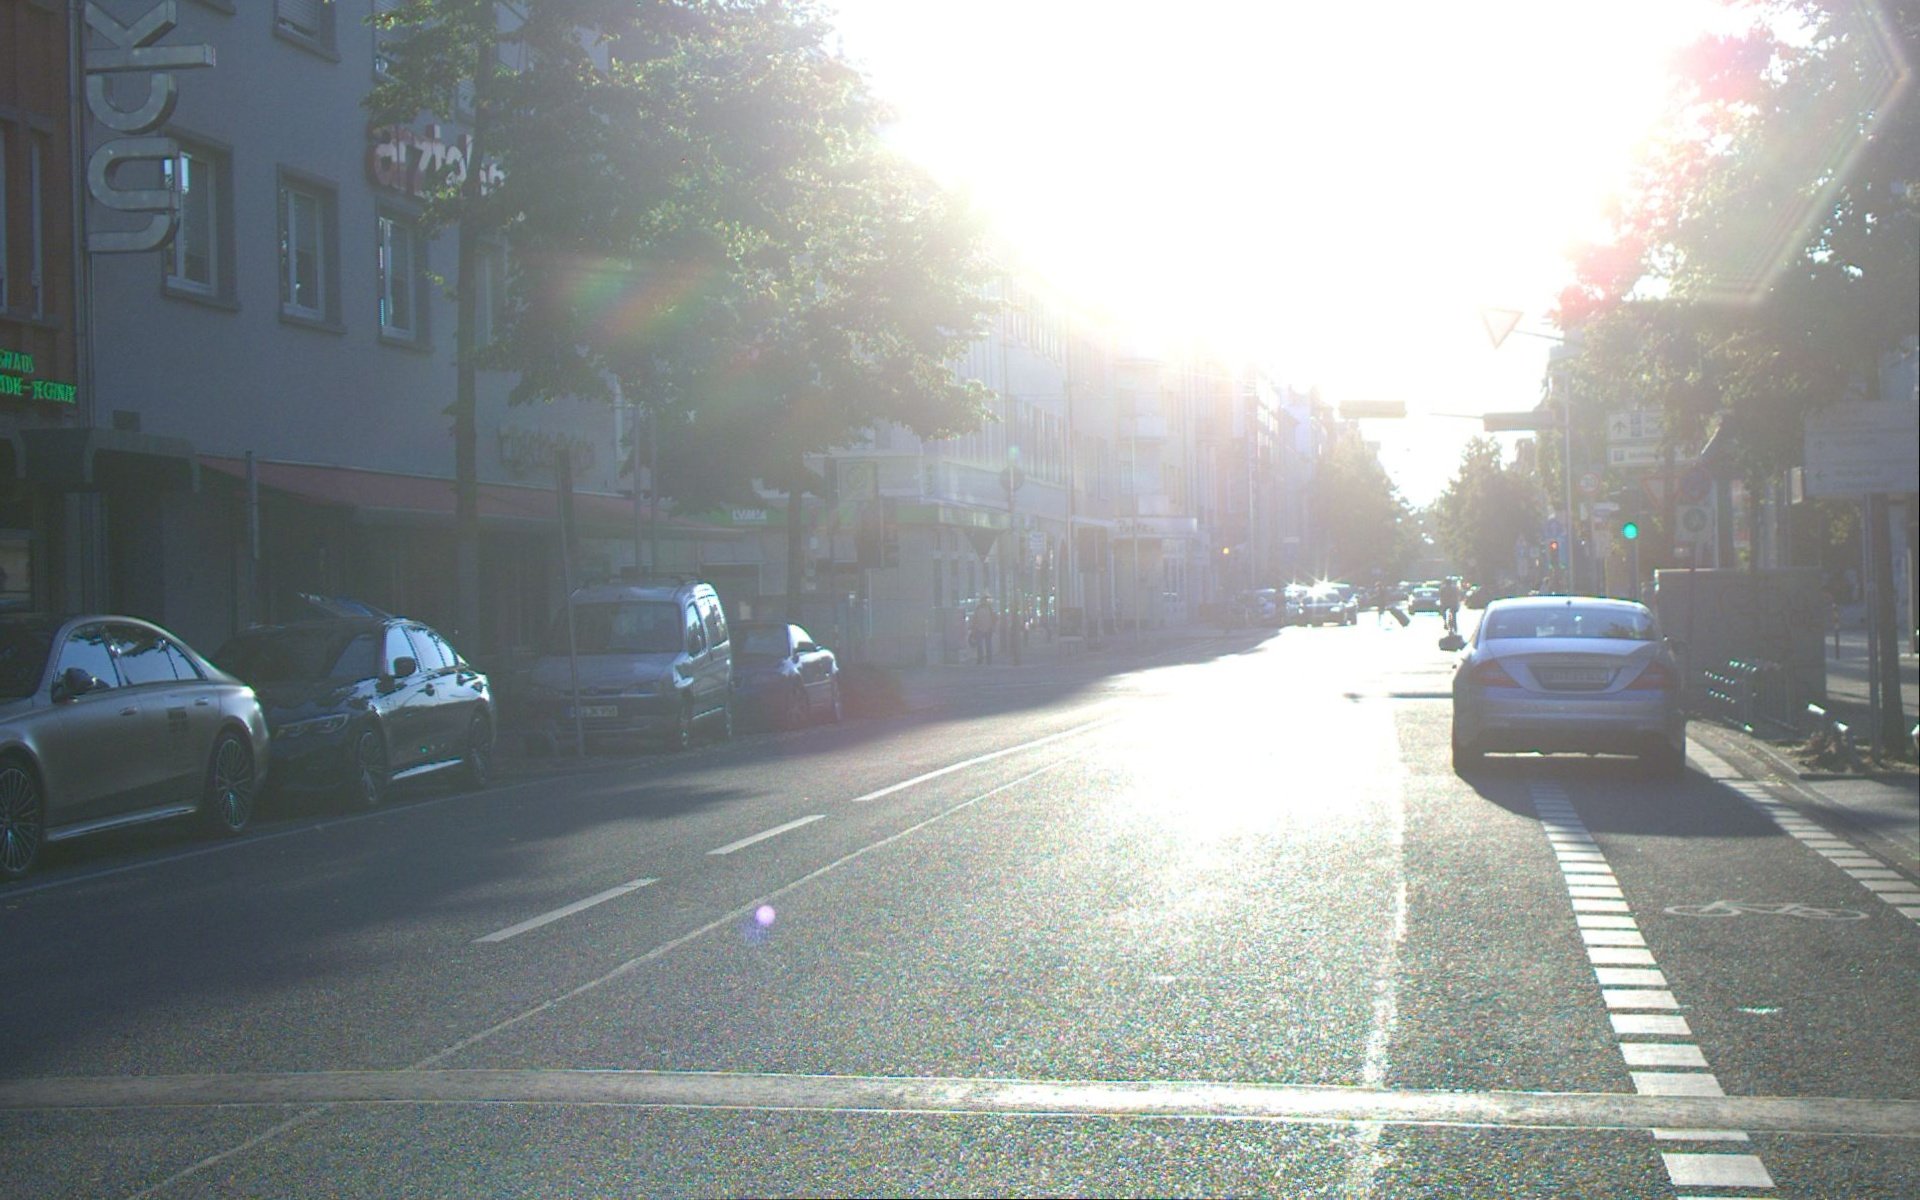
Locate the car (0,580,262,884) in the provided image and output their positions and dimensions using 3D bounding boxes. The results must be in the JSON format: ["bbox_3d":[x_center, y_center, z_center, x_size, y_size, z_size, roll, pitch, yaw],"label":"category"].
[{"bbox_3d":[-6.002,0.754,20.614,1.994,1.649,4.626,-2,0,9],"label":"car"}]

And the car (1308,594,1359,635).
[{"bbox_3d":[14.554,0.552,133.728,1.690,1.497,3.785,-1,0,10],"label":"car"}]

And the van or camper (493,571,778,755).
[{"bbox_3d":[-3.317,0.606,36.040,1.789,1.768,4.556,-1,0,10],"label":"van or camper"}]

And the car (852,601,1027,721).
[{"bbox_3d":[-0.232,0.799,46.653,1.690,1.497,3.785,-1,0,10],"label":"car"}]

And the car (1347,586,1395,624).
[{"bbox_3d":[16.851,0.197,140.911,1.690,1.497,3.785,-1,0,10],"label":"car"}]

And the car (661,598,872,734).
[{"bbox_3d":[-2.278,0.763,41.399,1.690,1.497,3.785,-1,0,10],"label":"car"}]

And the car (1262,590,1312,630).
[{"bbox_3d":[13.155,0.392,138.147,1.690,1.497,3.785,-1,0,10],"label":"car"}]

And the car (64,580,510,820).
[{"bbox_3d":[-5.045,0.699,26.466,1.994,1.649,4.479,-1,0,8],"label":"car"}]

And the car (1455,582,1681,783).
[{"bbox_3d":[4.982,0.616,28.189,1.690,1.497,3.785,1,1,10],"label":"car"}]

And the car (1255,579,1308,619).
[{"bbox_3d":[12.545,-0.040,133.986,1.690,1.497,3.785,-1,0,10],"label":"car"}]

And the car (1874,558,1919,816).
[{"bbox_3d":[8.451,0.586,22.653,4.306,1.692,1.879,0,0,-3],"label":"car"}]

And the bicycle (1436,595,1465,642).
[{"bbox_3d":[13.315,0.506,93.290,0.663,1.238,2.129,1,0,12],"label":"bicycle"}]

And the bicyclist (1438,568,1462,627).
[{"bbox_3d":[13.310,-0.064,93.338,0.547,1.575,0.802,-2,0,12],"label":"bicyclist"}]
